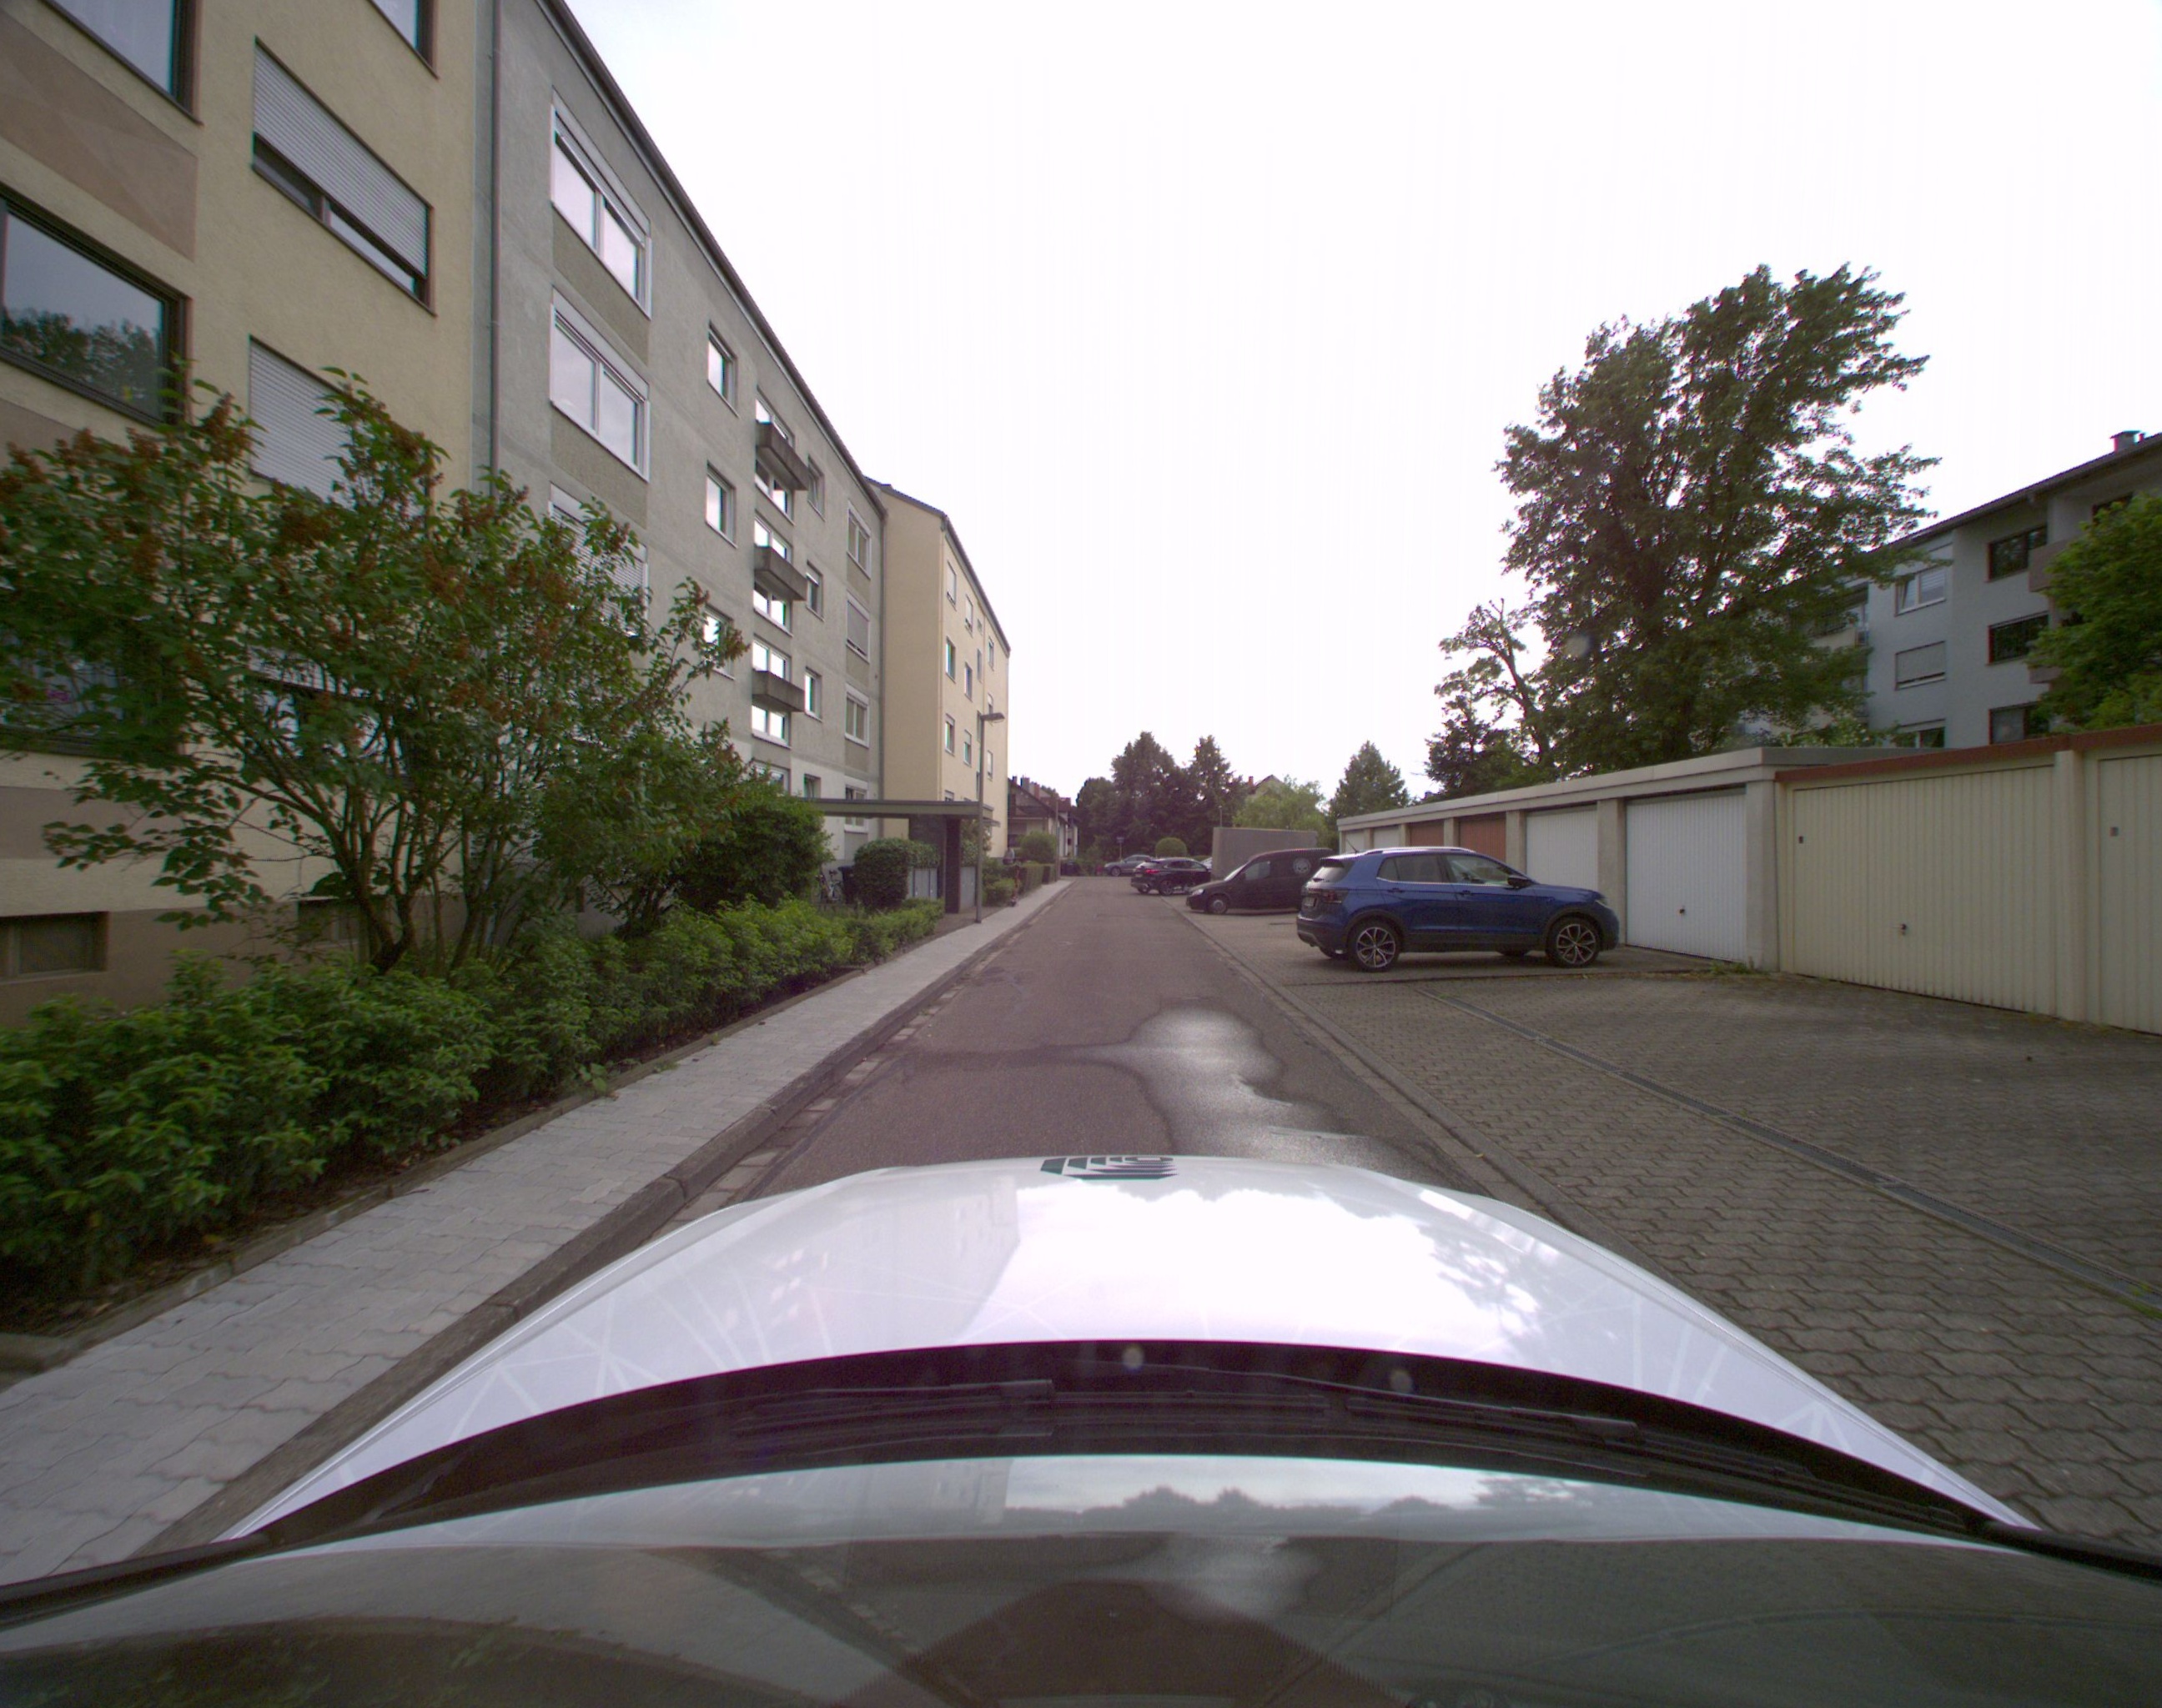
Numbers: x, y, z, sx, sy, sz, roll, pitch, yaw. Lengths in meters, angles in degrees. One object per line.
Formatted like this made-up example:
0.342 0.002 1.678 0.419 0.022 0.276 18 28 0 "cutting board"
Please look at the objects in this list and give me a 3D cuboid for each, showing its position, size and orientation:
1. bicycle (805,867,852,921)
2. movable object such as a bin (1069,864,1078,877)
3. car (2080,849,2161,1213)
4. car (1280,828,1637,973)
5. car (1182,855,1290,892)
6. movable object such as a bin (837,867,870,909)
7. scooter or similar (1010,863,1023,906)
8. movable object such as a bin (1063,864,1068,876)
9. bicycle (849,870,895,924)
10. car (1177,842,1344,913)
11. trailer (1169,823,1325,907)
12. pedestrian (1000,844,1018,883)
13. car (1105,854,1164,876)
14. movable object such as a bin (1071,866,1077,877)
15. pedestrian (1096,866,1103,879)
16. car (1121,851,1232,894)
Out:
-5.229 0.812 16.944 0.372 1.034 1.547 2 0 3 "bicycle"
-0.602 1.260 61.582 0.636 0.953 0.723 1 -1 1 "movable object such as a bin"
6.149 0.651 2.471 3.744 1.446 2.000 -2 0 1 "car"
4.983 0.583 11.232 3.973 1.703 2.000 -2 0 1 "car"
6.796 0.837 36.146 4.518 1.588 1.990 0 0 3 "car"
-5.642 0.844 20.234 0.531 1.019 0.583 0 -1 23 "movable object such as a bin"
-1.867 0.869 23.654 0.272 1.211 1.165 0 0 1 "scooter or similar"
-1.218 1.247 63.164 0.385 0.890 0.379 1 -1 -1 "movable object such as a bin"
-4.357 0.882 17.089 0.452 1.034 1.547 2 0 3 "bicycle"
4.996 0.648 23.136 4.295 1.802 2.000 -2 0 1 "car"
5.193 0.335 25.937 4.592 2.525 1.943 1 0 2 "trailer"
-3.277 0.429 37.014 0.677 1.749 0.756 1 -1 0 "pedestrian"
3.887 0.839 59.455 4.222 1.531 1.747 1 -2 1 "car"
-0.527 1.363 63.491 0.458 0.797 0.379 1 -1 -1 "movable object such as a bin"
2.222 2.164 96.126 0.812 1.517 0.438 0 -1 -1 "pedestrian"
3.857 0.735 32.917 4.004 1.552 1.985 -2 0 -23 "car"
